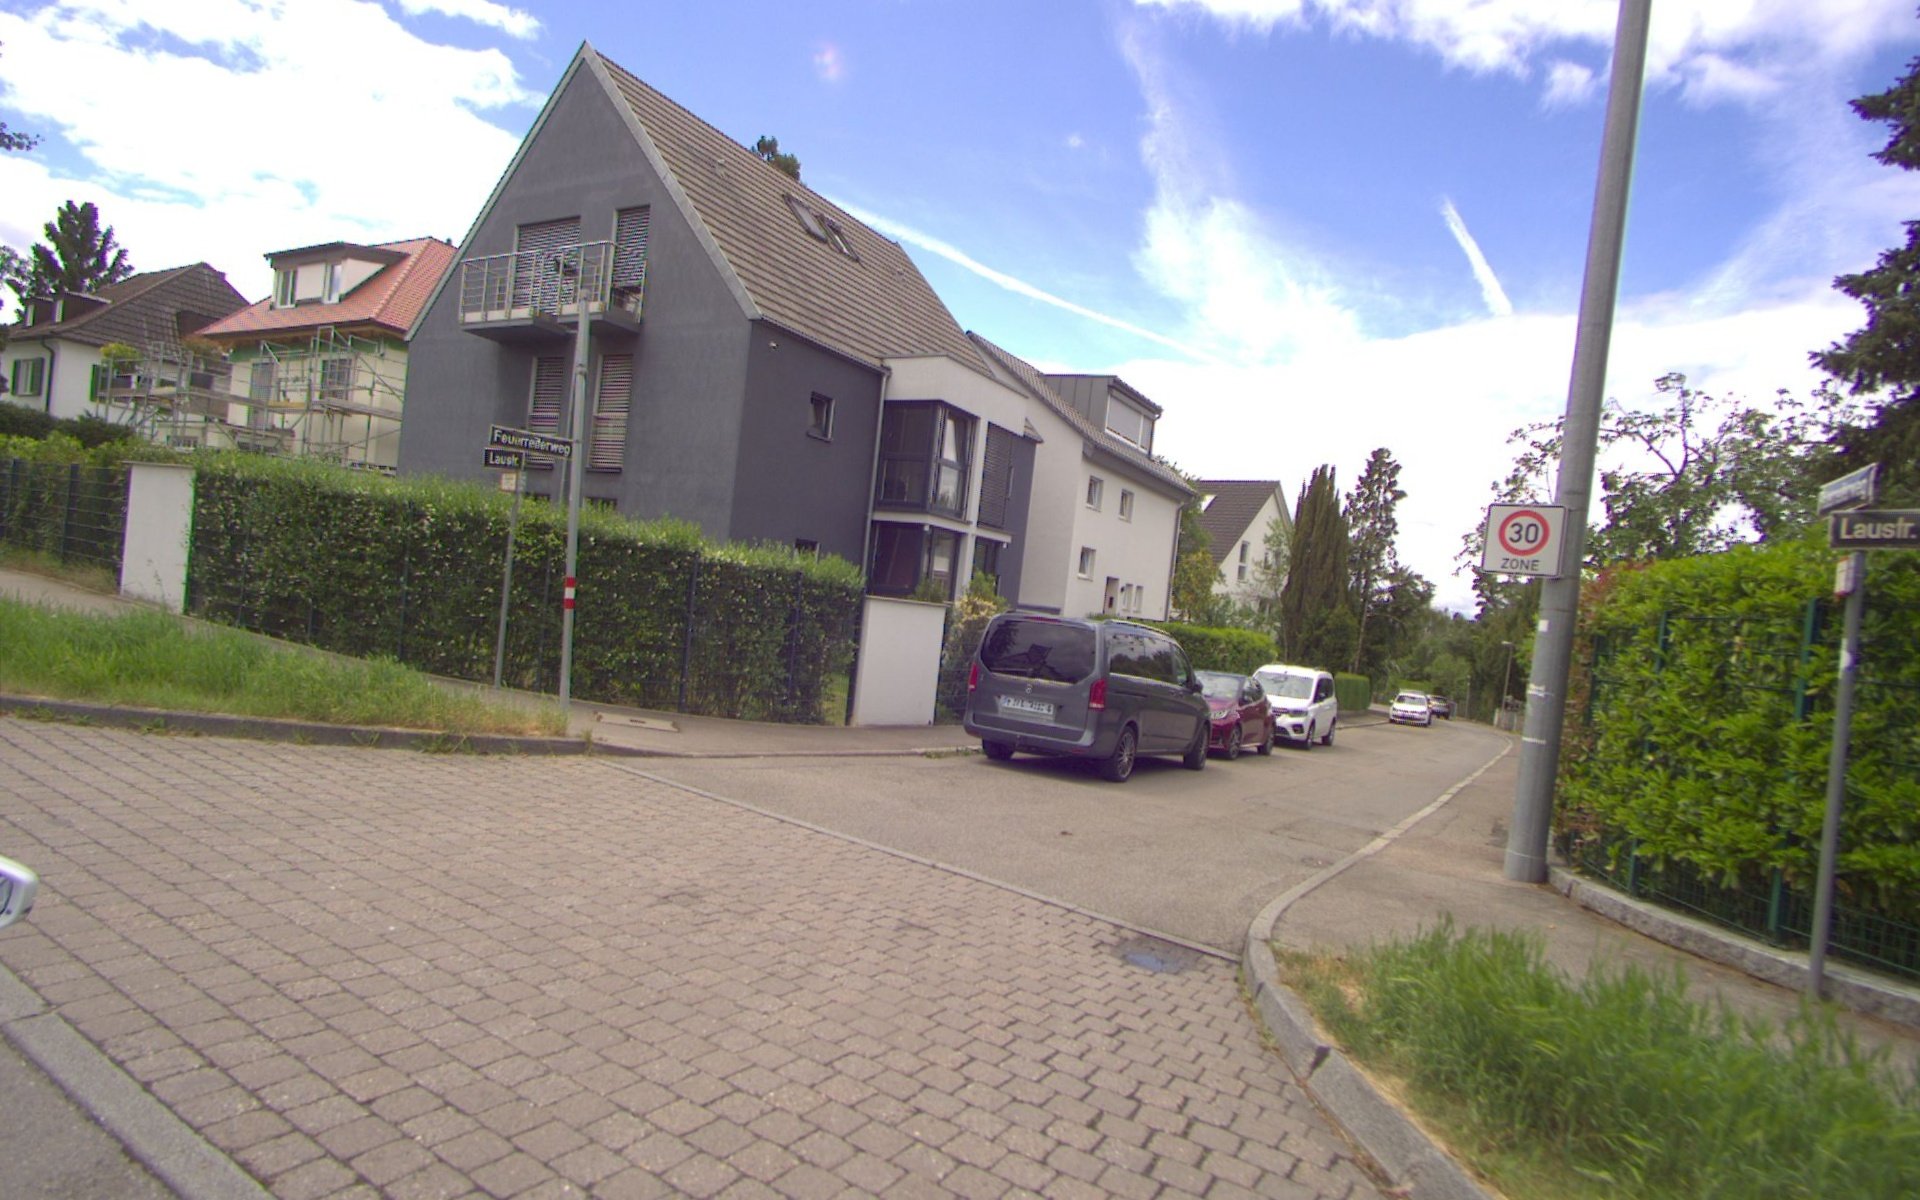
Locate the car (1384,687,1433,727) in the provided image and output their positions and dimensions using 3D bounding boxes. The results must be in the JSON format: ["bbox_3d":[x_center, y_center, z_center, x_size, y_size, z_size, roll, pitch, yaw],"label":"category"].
[{"bbox_3d":[21.236,5.043,47.789,1.796,1.575,4.128,7,-2,22],"label":"car"}]

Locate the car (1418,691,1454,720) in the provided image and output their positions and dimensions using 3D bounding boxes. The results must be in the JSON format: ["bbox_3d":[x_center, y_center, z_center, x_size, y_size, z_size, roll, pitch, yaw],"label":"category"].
[{"bbox_3d":[32.600,7.205,69.008,1.796,1.575,4.128,7,-2,22],"label":"car"}]

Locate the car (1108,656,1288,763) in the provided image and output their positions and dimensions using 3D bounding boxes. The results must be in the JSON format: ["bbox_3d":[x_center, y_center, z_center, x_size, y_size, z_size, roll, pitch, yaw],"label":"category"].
[{"bbox_3d":[4.479,1.988,18.490,1.967,1.475,3.995,7,-2,31],"label":"car"}]

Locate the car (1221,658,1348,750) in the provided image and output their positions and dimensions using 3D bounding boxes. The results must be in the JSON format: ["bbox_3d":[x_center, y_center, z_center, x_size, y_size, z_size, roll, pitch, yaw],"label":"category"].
[{"bbox_3d":[7.699,2.431,23.607,1.799,1.723,4.121,7,-2,31],"label":"car"}]

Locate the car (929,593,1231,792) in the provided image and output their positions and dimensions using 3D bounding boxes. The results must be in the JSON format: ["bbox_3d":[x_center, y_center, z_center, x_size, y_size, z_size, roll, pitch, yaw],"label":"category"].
[{"bbox_3d":[1.861,1.242,13.687,2.123,1.989,4.769,7,-2,31],"label":"car"}]
